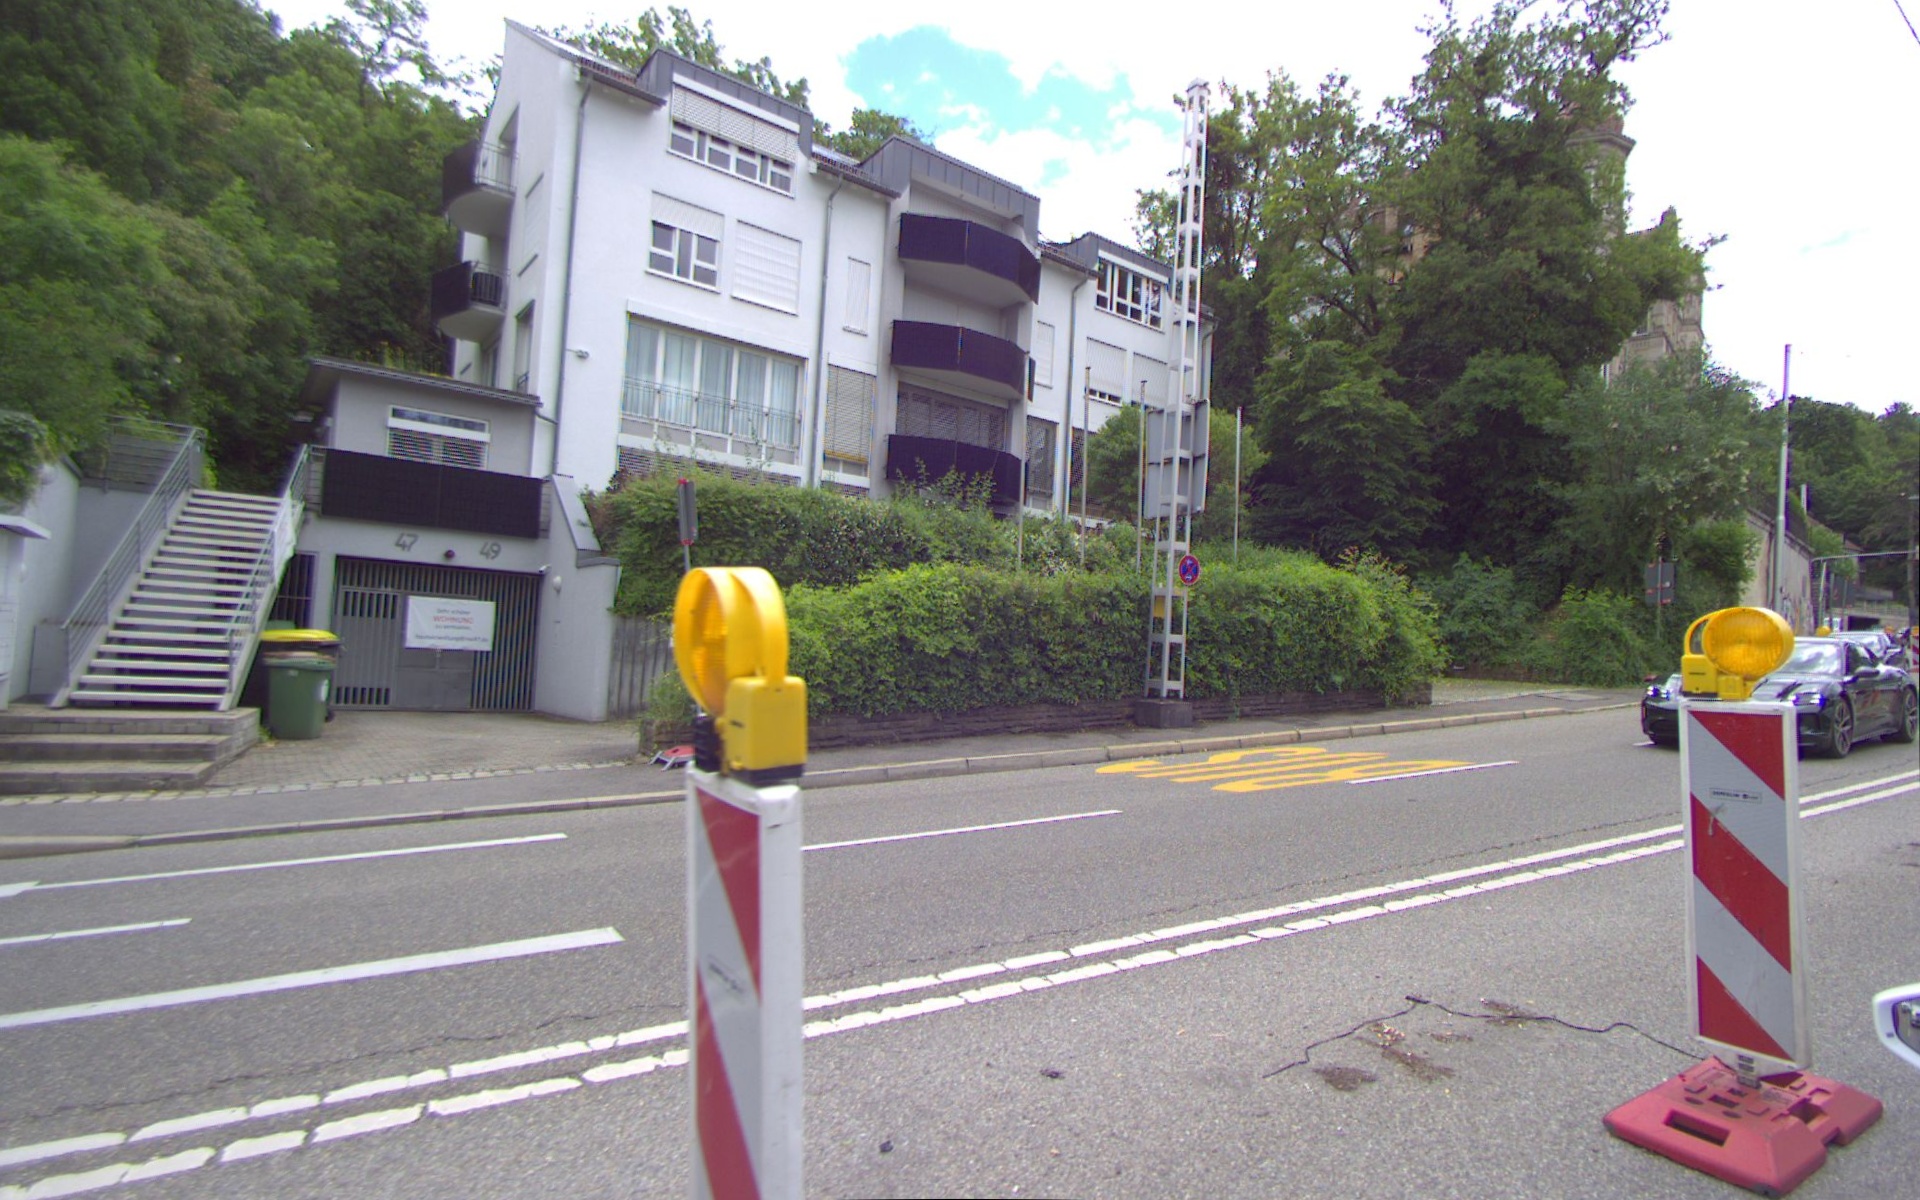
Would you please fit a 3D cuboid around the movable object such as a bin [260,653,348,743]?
[{"bbox_3d":[-8.539,1.252,13.127,0.793,1.104,1.101,1,-3,-25],"label":"movable object such as a bin"}]

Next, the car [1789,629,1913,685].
[{"bbox_3d":[24.209,1.507,27.243,4.350,1.391,1.785,1,-3,-39],"label":"car"}]

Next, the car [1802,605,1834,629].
[{"bbox_3d":[81.326,1.582,95.274,2.042,2.216,4.941,-1,-2,38],"label":"car"}]

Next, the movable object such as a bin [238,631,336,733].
[{"bbox_3d":[-9.585,1.148,14.362,0.994,1.390,0.992,1,-3,-26],"label":"movable object such as a bin"}]

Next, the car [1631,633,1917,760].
[{"bbox_3d":[10.722,1.144,13.139,4.395,1.409,1.809,1,-3,-36],"label":"car"}]
